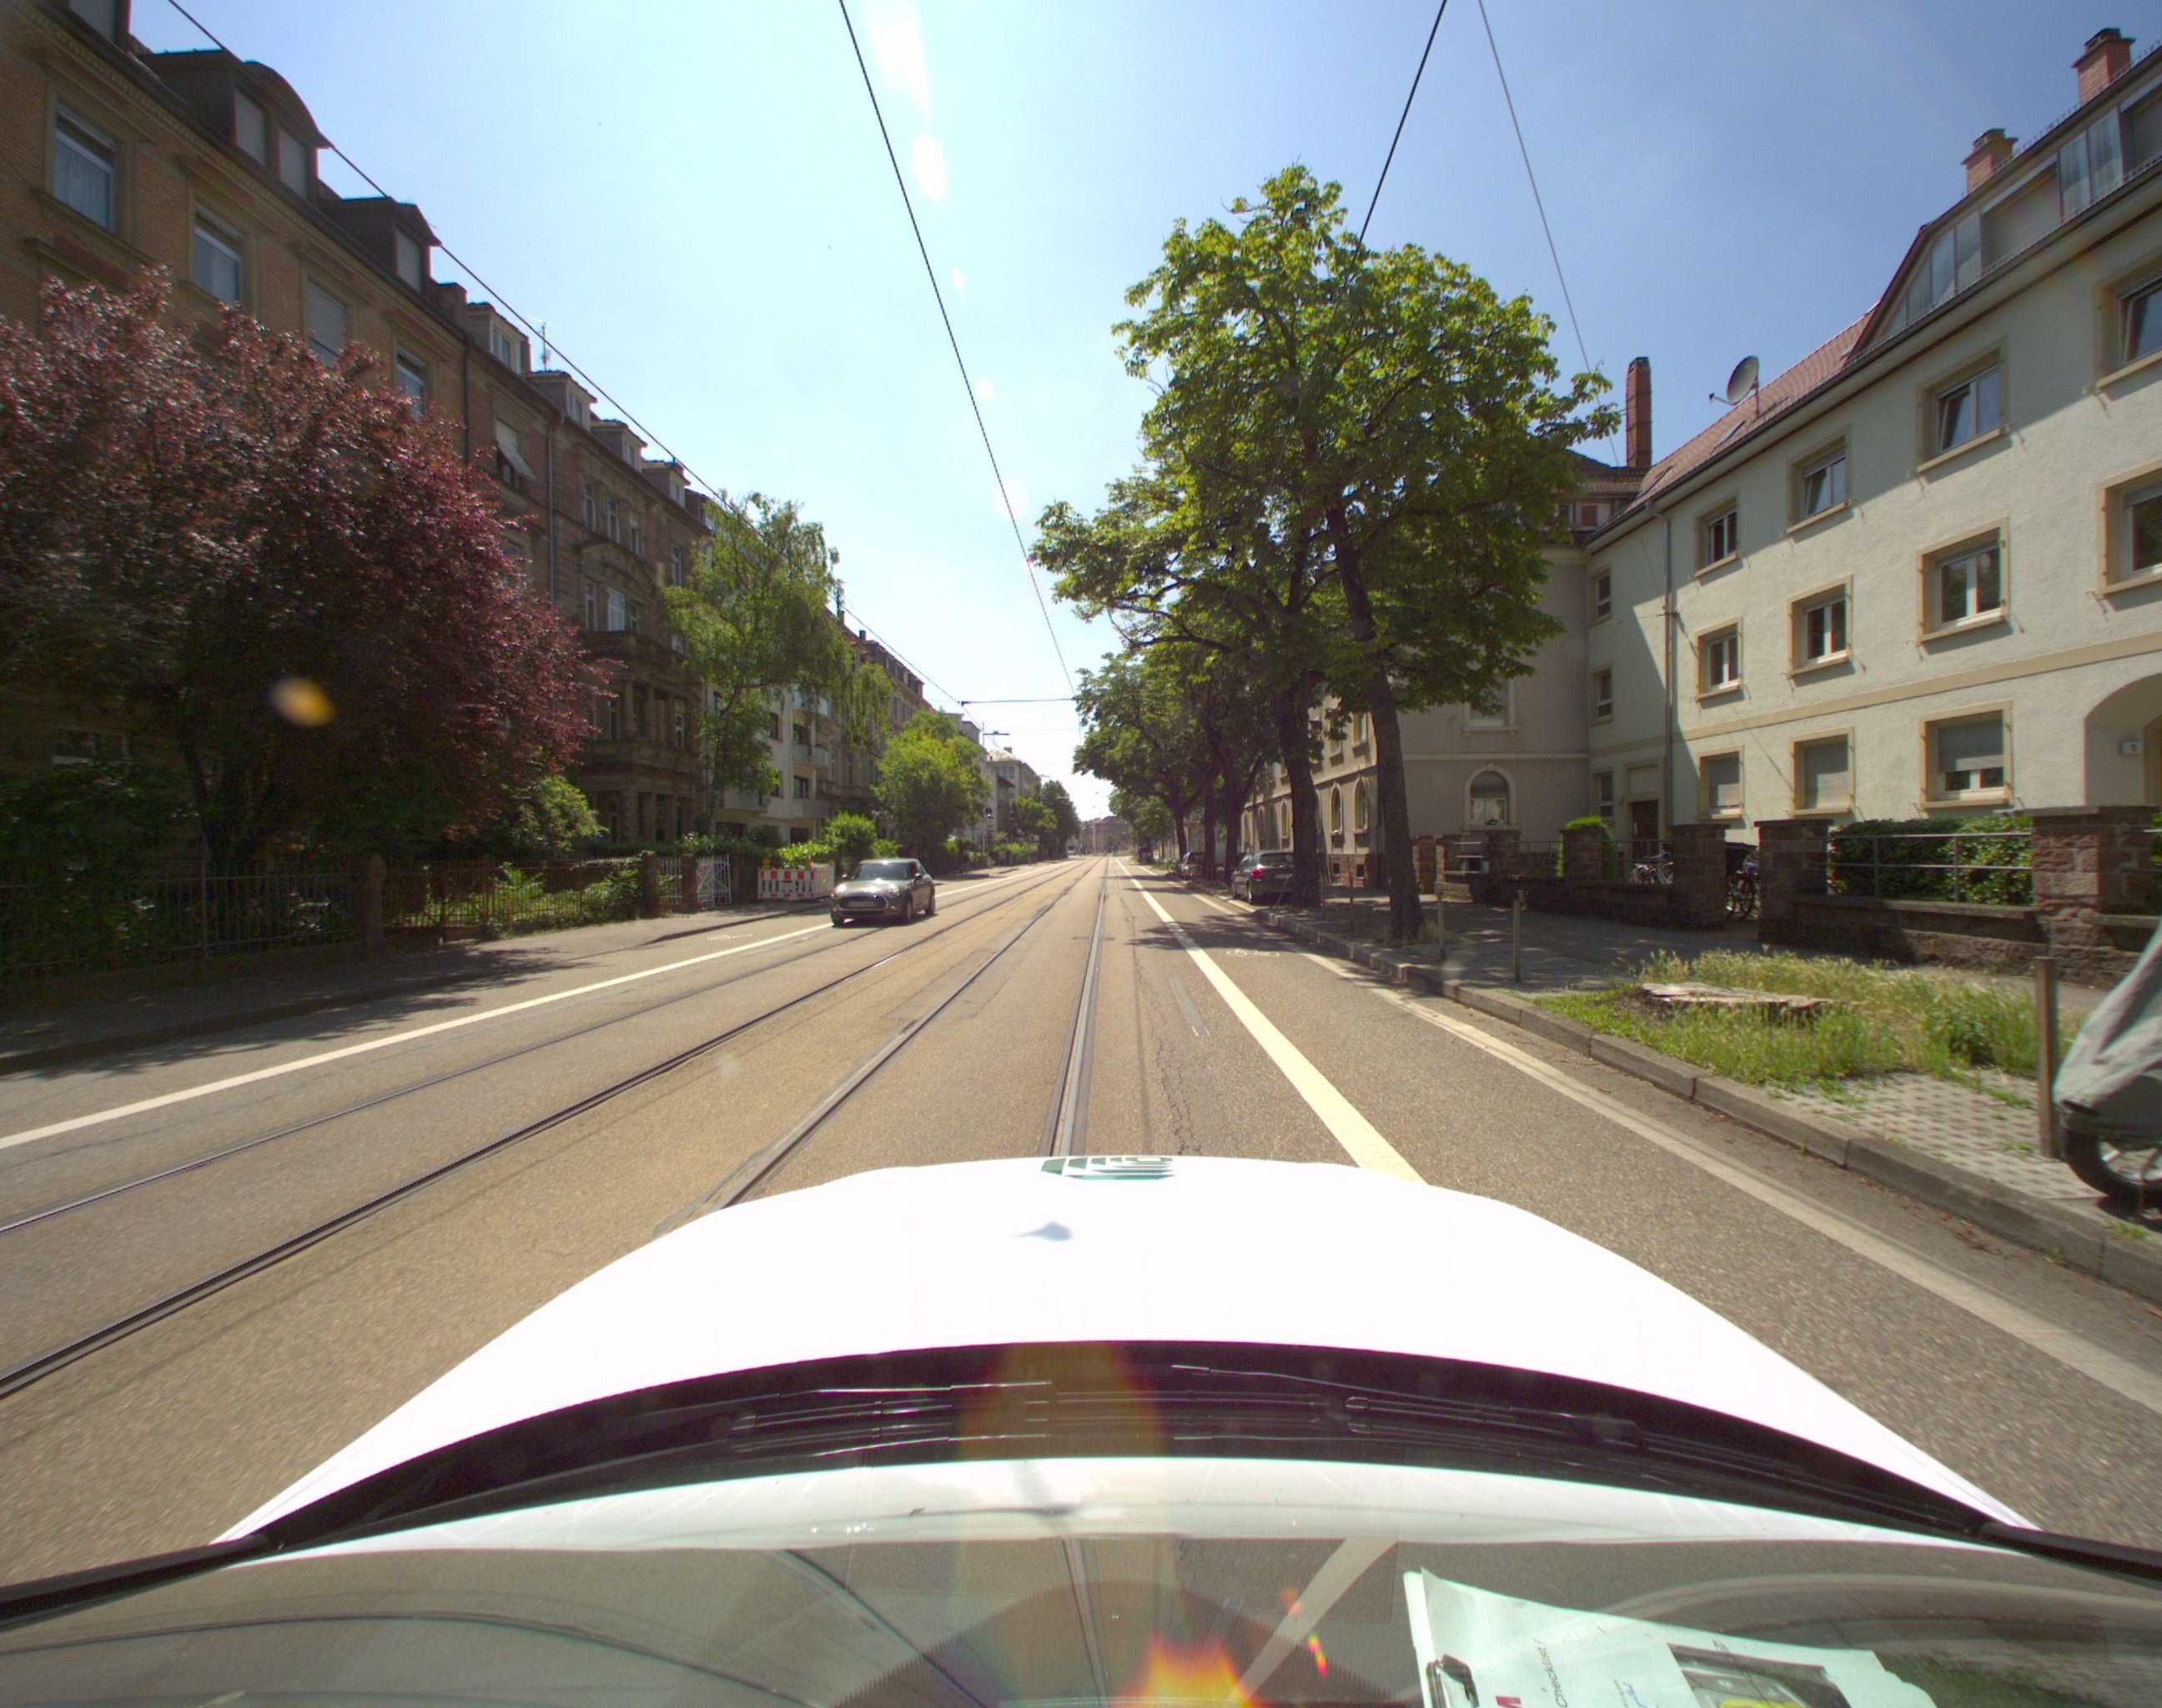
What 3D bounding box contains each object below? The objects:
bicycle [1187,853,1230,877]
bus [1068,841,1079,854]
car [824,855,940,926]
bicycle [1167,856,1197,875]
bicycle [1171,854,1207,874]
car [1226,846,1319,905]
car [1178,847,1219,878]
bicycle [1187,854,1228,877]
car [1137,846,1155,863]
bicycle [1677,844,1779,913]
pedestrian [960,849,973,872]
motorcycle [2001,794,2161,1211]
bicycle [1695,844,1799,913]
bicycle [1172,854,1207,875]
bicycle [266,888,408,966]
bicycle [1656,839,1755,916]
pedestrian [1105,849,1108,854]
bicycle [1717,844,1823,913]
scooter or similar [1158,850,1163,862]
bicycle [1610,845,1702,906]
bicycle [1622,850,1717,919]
[{"bbox_3d":[6.039,0.530,38.677,1.952,1.063,0.600,-2,0,8],"label":"bicycle"},{"bbox_3d":[-2.359,-1.989,260.115,2.920,3.937,11.279,0,0,2],"label":"bus"},{"bbox_3d":[-4.558,0.780,19.205,1.680,1.454,3.750,-1,0,2],"label":"car"},{"bbox_3d":[6.478,0.732,52.353,1.809,1.113,0.493,-3,-1,1],"label":"bicycle"},{"bbox_3d":[6.354,0.590,47.969,2.001,1.113,0.640,-3,-1,4],"label":"bicycle"},{"bbox_3d":[5.567,0.552,24.255,1.768,1.501,4.306,-3,1,1],"label":"car"},{"bbox_3d":[6.111,0.416,42.822,1.616,1.448,3.811,-4,0,2],"label":"car"},{"bbox_3d":[5.944,0.543,38.246,1.879,1.052,0.539,-2,0,8],"label":"bicycle"},{"bbox_3d":[8.020,0.013,101.268,1.986,2.035,4.699,-2,1,2],"label":"car"},{"bbox_3d":[10.667,0.370,13.481,0.457,1.056,1.565,-2,0,2],"label":"bicycle"},{"bbox_3d":[-8.196,0.464,58.419,0.747,1.629,0.834,-1,0,5],"label":"pedestrian"},{"bbox_3d":[4.874,0.531,2.733,2.291,1.540,0.874,-1,1,45],"label":"motorcycle"},{"bbox_3d":[11.000,0.372,13.512,0.457,1.056,1.565,-2,0,2],"label":"bicycle"},{"bbox_3d":[6.307,0.594,47.371,1.954,1.113,0.599,-3,-1,4],"label":"bicycle"},{"bbox_3d":[-11.867,1.163,13.029,1.610,1.187,0.508,2,0,-12],"label":"bicycle"},{"bbox_3d":[10.291,0.359,13.484,0.457,1.191,1.565,-2,0,2],"label":"bicycle"},{"bbox_3d":[6.201,-0.611,200.223,0.493,1.173,0.585,-2,0,-24],"label":"pedestrian"},{"bbox_3d":[11.383,0.374,13.515,0.457,1.056,1.565,-2,0,2],"label":"bicycle"},{"bbox_3d":[8.720,0.215,89.224,0.499,1.230,1.574,-1,0,2],"label":"scooter or similar"},{"bbox_3d":[10.609,0.374,15.083,0.458,1.056,1.562,-3,0,-5],"label":"bicycle"},{"bbox_3d":[9.775,0.472,13.589,0.457,1.056,1.565,-2,0,2],"label":"bicycle"}]
